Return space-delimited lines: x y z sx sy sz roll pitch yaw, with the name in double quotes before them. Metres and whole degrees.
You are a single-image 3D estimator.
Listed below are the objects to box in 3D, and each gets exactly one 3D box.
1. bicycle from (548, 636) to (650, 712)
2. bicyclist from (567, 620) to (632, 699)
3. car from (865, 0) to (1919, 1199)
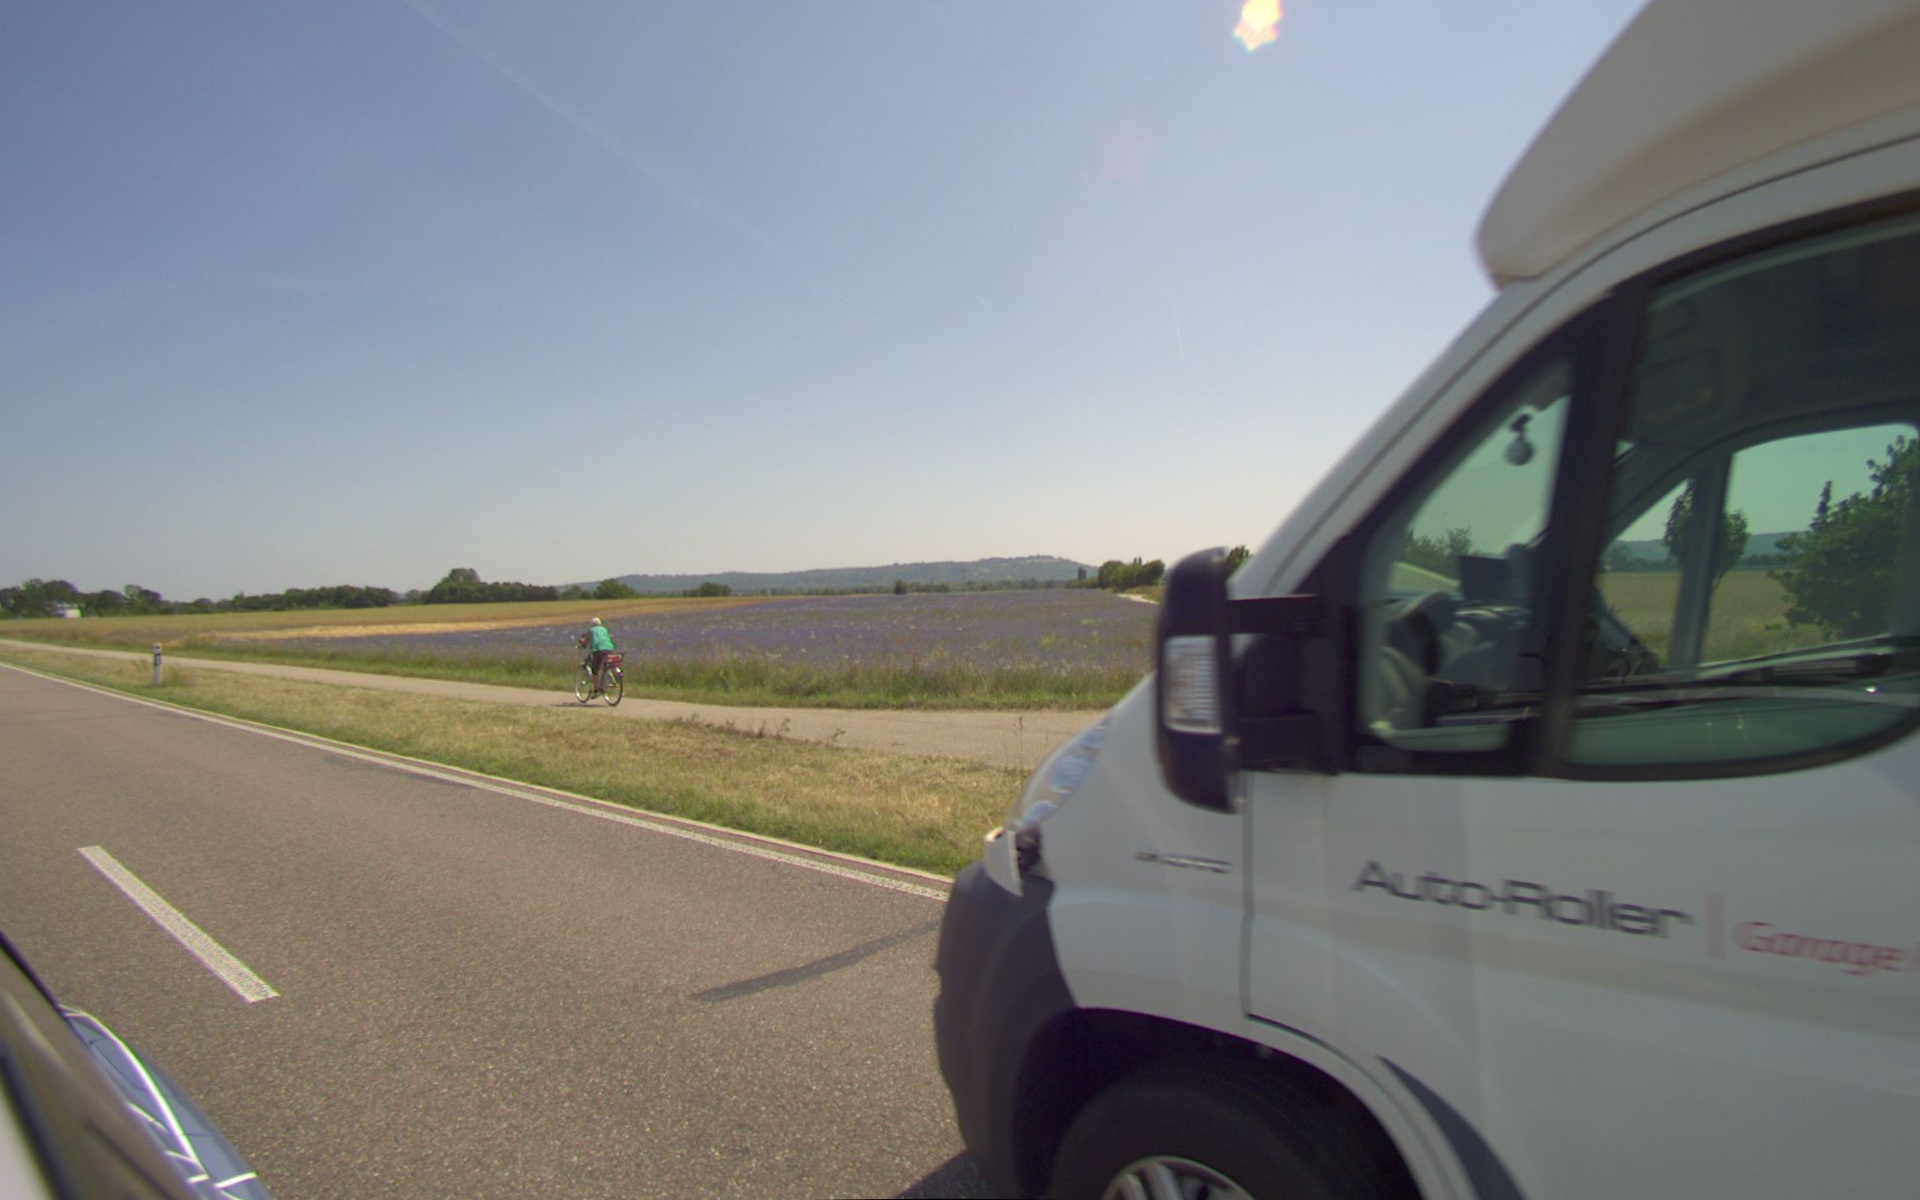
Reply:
"bicycle" -6.444 1.277 17.992 2.215 1.238 0.754 -2 -1 42
"bicyclist" -6.409 1.032 17.984 0.965 1.341 0.694 -2 -1 42
"car" 3.466 -0.066 0.347 7.624 2.868 2.372 -1 -1 41
